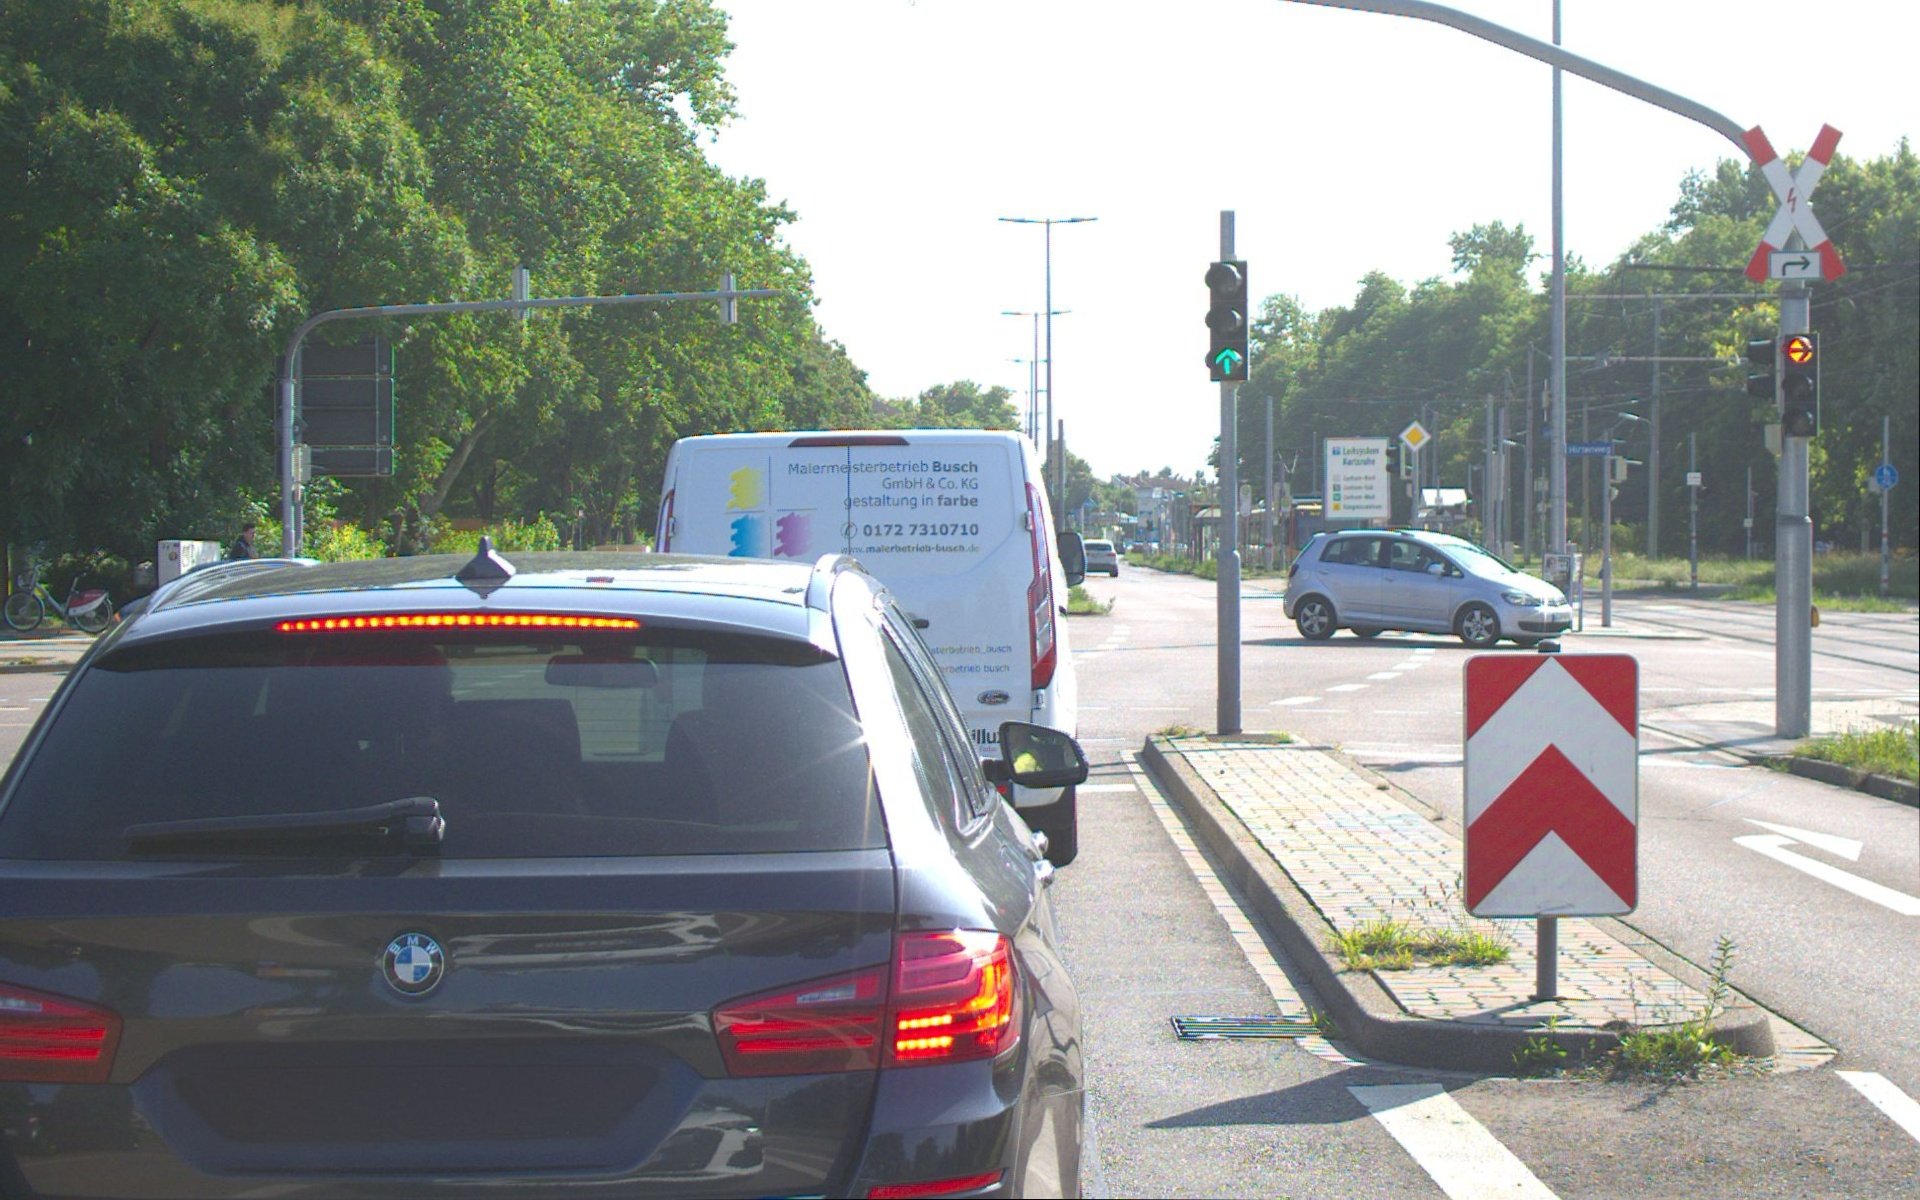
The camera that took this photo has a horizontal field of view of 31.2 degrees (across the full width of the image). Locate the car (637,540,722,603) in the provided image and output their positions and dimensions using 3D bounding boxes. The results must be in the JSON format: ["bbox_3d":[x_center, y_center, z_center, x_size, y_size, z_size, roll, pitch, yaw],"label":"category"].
[{"bbox_3d":[-6.886,-0.716,84.668,1.888,1.469,4.100,-1,1,-2],"label":"car"}]

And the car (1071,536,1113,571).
[{"bbox_3d":[5.780,-2.056,150.946,1.793,1.481,3.900,0,1,1],"label":"car"}]

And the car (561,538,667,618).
[{"bbox_3d":[-7.172,-0.488,71.526,1.745,1.556,4.000,-2,1,0],"label":"car"}]

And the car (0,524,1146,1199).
[{"bbox_3d":[-0.731,0.615,6.427,1.903,1.500,4.065,0,1,0],"label":"car"}]

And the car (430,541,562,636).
[{"bbox_3d":[-7.700,-0.228,57.374,1.702,1.460,4.370,-2,1,-2],"label":"car"}]

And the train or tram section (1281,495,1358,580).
[{"bbox_3d":[16.027,-2.740,154.062,2.796,3.606,12.954,1,1,3],"label":"train or tram section"}]

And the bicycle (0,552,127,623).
[{"bbox_3d":[-14.277,-0.197,54.633,1.909,1.115,0.632,0,1,0],"label":"bicycle"}]

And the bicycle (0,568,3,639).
[{"bbox_3d":[-14.684,0.065,49.308,0.620,1.037,2.069,0,1,26],"label":"bicycle"}]

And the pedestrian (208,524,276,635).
[{"bbox_3d":[-11.370,-0.330,54.444,0.816,1.746,0.931,0,1,5],"label":"pedestrian"}]

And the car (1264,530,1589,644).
[{"bbox_3d":[6.609,-0.220,48.864,4.199,1.557,1.852,1,1,35],"label":"car"}]

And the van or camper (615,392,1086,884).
[{"bbox_3d":[-0.427,0.117,16.883,1.993,2.089,4.598,0,1,1],"label":"van or camper"}]

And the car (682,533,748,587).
[{"bbox_3d":[-7.171,-1.188,100.939,1.788,1.515,4.001,-1,1,-2],"label":"car"}]

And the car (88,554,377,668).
[{"bbox_3d":[-9.566,0.108,45.571,1.781,1.410,4.240,0,1,20],"label":"car"}]
